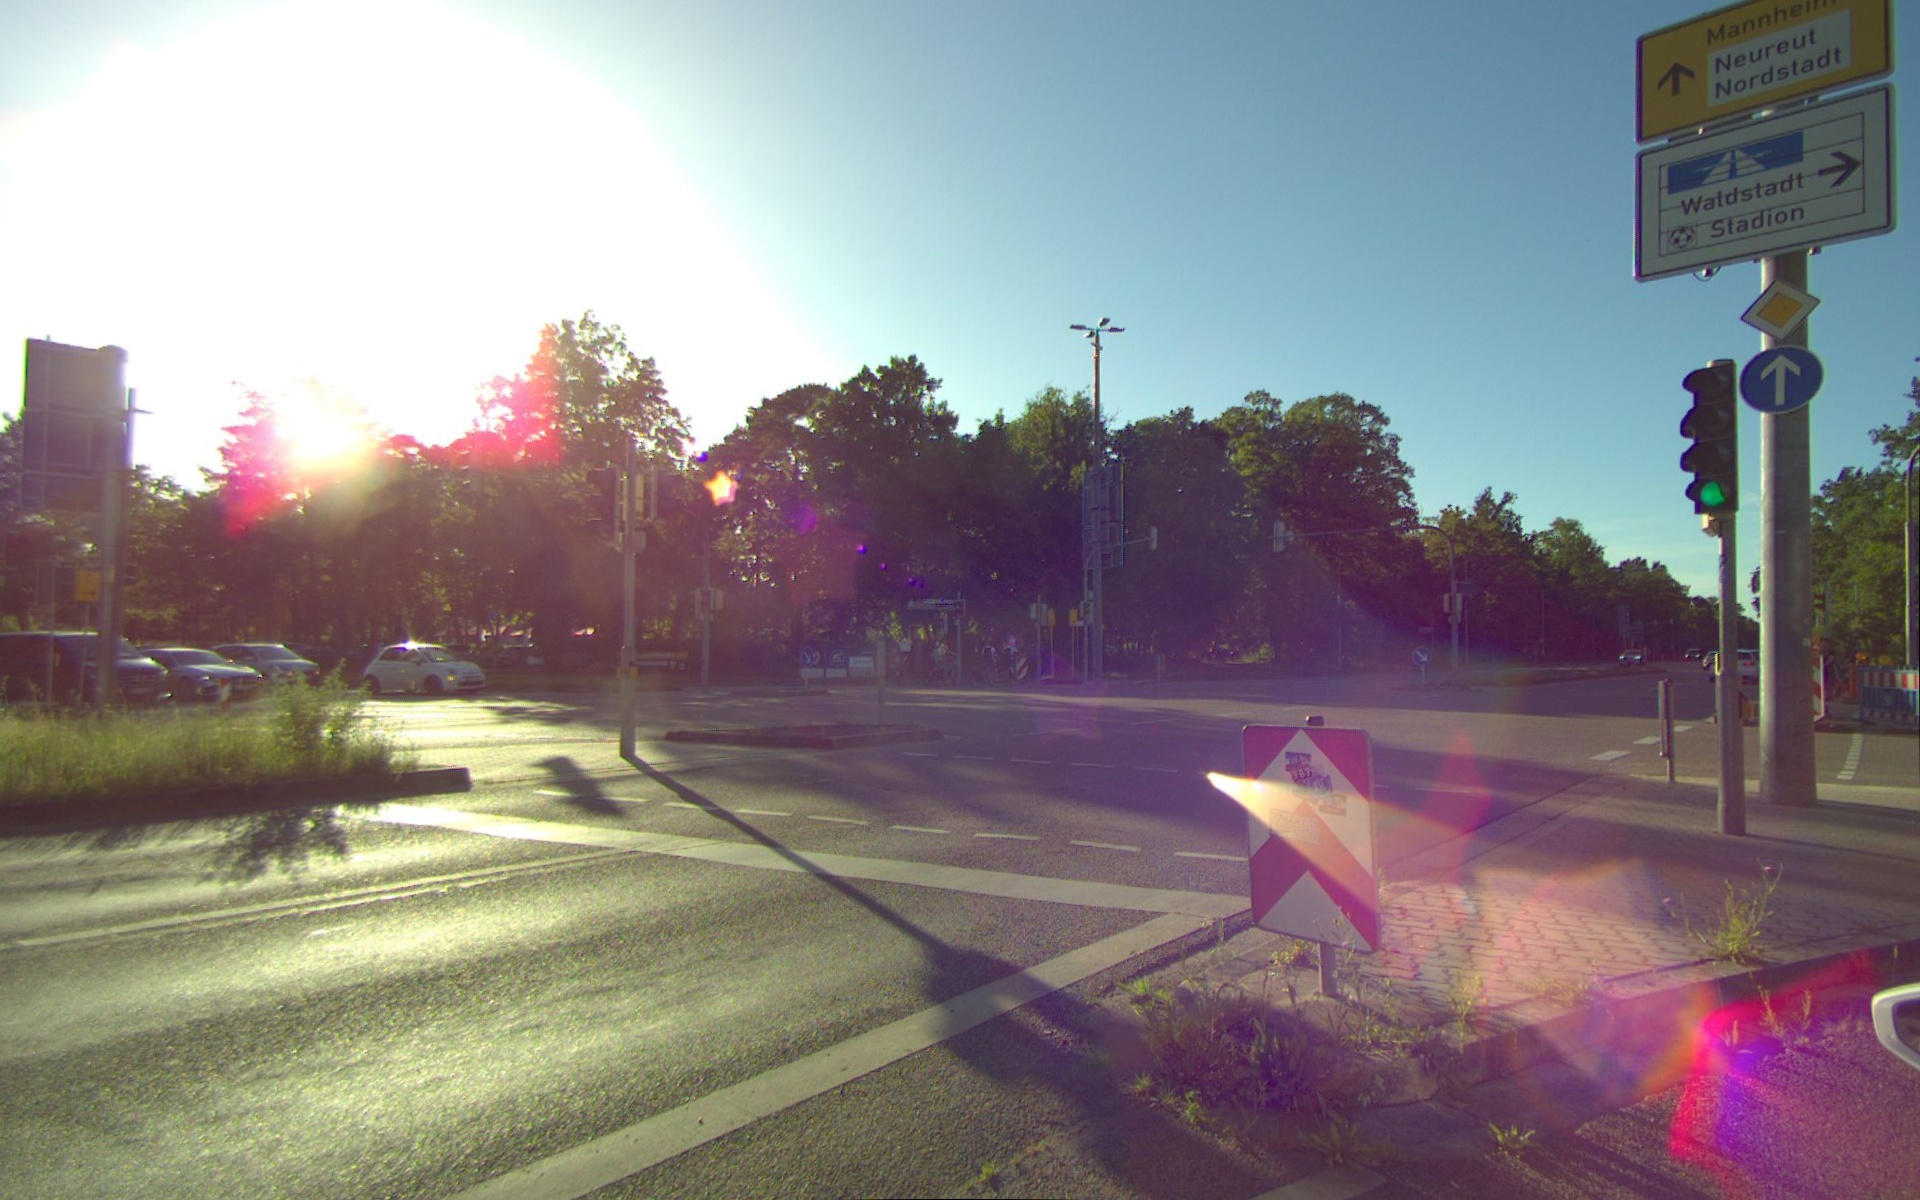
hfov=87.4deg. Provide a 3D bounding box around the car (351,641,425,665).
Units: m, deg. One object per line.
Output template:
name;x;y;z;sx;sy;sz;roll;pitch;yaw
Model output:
car;-38.834;3.583;68.294;1.782;1.620;3.964;-1;-3;30

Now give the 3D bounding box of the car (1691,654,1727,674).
car;59.125;5.057;79.276;1.843;1.463;3.978;-1;-3;43

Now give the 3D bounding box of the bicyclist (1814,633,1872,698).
bicyclist;27.029;1.984;30.762;0.995;1.955;0.969;1;-1;11

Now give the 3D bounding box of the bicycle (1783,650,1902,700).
bicycle;26.975;2.279;30.758;2.586;1.401;0.969;1;-1;11

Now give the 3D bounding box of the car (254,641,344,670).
car;-39.099;3.286;59.487;1.907;1.640;3.996;-1;-3;27

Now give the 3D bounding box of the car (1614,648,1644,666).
car;68.658;5.839;103.089;1.971;1.812;4.228;-2;-3;41

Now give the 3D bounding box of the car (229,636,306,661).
car;-47.813;3.344;69.397;1.782;1.620;3.964;-1;-3;30

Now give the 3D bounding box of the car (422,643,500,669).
car;-31.902;3.558;64.333;1.782;1.620;4.143;-1;-3;30

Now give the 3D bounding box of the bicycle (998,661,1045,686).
bicycle;2.382;2.834;38.779;1.898;0.926;0.708;3;-3;-44

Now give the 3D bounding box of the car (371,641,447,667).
car;-35.484;3.476;64.799;1.782;1.620;3.964;-1;-3;30

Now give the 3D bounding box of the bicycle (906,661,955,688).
bicycle;-1.129;2.821;38.234;1.898;0.926;0.708;2;-3;-44

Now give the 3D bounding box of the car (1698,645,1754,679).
car;34.947;2.801;45.818;1.917;1.433;3.983;-2;-3;39

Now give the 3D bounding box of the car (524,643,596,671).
car;-24.730;3.515;62.284;1.778;1.620;4.197;0;-3;20

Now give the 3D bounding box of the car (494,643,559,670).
car;-27.144;3.524;63.031;1.779;1.620;3.502;0;-2;21

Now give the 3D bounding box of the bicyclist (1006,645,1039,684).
bicyclist;2.254;2.309;36.006;0.984;1.356;0.708;3;-3;-44

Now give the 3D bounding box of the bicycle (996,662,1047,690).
bicycle;2.208;2.705;35.952;1.898;0.926;0.708;3;-3;-44

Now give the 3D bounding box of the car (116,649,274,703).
car;-21.317;2.075;28.021;3.724;1.407;1.649;0;-3;18

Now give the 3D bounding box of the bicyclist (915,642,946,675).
bicyclist;-1.127;2.221;38.257;0.984;1.208;0.708;3;-3;-44

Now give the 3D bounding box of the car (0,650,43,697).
car;-30.696;2.256;31.047;3.724;1.407;1.855;0;-3;18

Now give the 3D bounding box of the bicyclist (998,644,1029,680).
bicyclist;2.058;2.372;38.478;0.984;1.359;0.708;3;-3;-44

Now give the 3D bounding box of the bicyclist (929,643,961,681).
bicyclist;-0.559;2.313;37.549;0.984;1.408;0.704;3;-3;-44

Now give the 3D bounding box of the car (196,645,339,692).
car;-22.138;2.173;32.163;3.724;1.407;1.855;0;-3;18

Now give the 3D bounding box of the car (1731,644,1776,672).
car;46.167;3.374;58.434;1.969;1.556;3.983;-2;-3;39

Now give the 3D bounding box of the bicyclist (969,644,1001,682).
bicyclist;0.923;2.322;37.313;0.984;1.373;0.708;3;-3;-44

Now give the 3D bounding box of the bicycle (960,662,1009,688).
bicycle;0.922;2.762;37.301;1.898;0.926;0.708;3;-3;-44

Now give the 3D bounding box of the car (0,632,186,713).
car;-21.940;1.743;24.900;4.835;1.853;1.929;0;-3;18

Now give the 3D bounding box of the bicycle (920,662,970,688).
bicycle;-0.535;2.802;37.552;1.898;0.926;0.708;3;-3;-44

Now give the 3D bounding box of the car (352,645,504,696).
car;-15.910;2.077;30.094;3.724;1.407;1.929;0;-3;18
